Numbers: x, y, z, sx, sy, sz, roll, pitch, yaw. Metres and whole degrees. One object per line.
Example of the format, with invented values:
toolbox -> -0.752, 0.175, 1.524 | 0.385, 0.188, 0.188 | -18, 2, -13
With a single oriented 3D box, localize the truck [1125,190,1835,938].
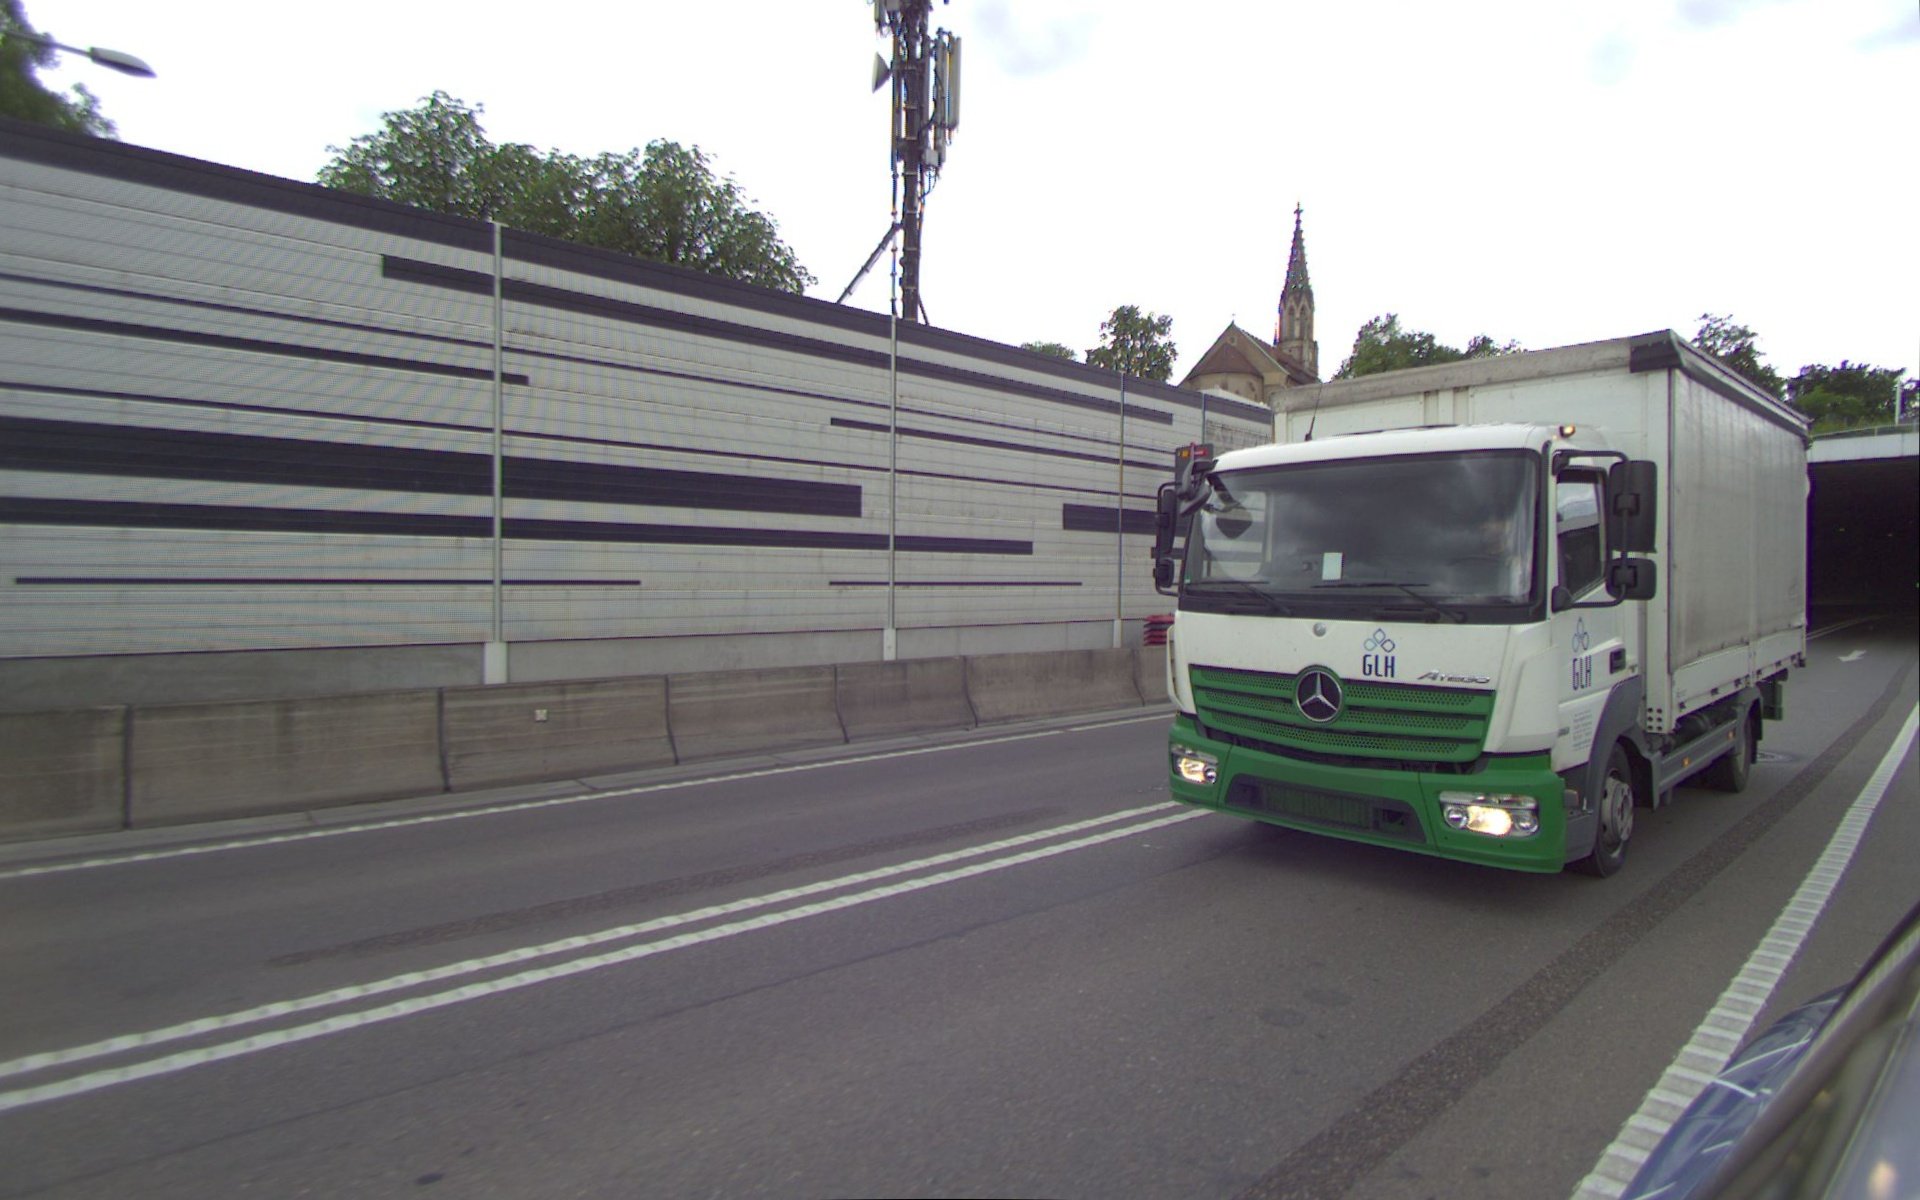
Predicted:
truck -> 4.595, -0.200, 7.910 | 7.291, 3.280, 2.632 | -1, 0, -43
